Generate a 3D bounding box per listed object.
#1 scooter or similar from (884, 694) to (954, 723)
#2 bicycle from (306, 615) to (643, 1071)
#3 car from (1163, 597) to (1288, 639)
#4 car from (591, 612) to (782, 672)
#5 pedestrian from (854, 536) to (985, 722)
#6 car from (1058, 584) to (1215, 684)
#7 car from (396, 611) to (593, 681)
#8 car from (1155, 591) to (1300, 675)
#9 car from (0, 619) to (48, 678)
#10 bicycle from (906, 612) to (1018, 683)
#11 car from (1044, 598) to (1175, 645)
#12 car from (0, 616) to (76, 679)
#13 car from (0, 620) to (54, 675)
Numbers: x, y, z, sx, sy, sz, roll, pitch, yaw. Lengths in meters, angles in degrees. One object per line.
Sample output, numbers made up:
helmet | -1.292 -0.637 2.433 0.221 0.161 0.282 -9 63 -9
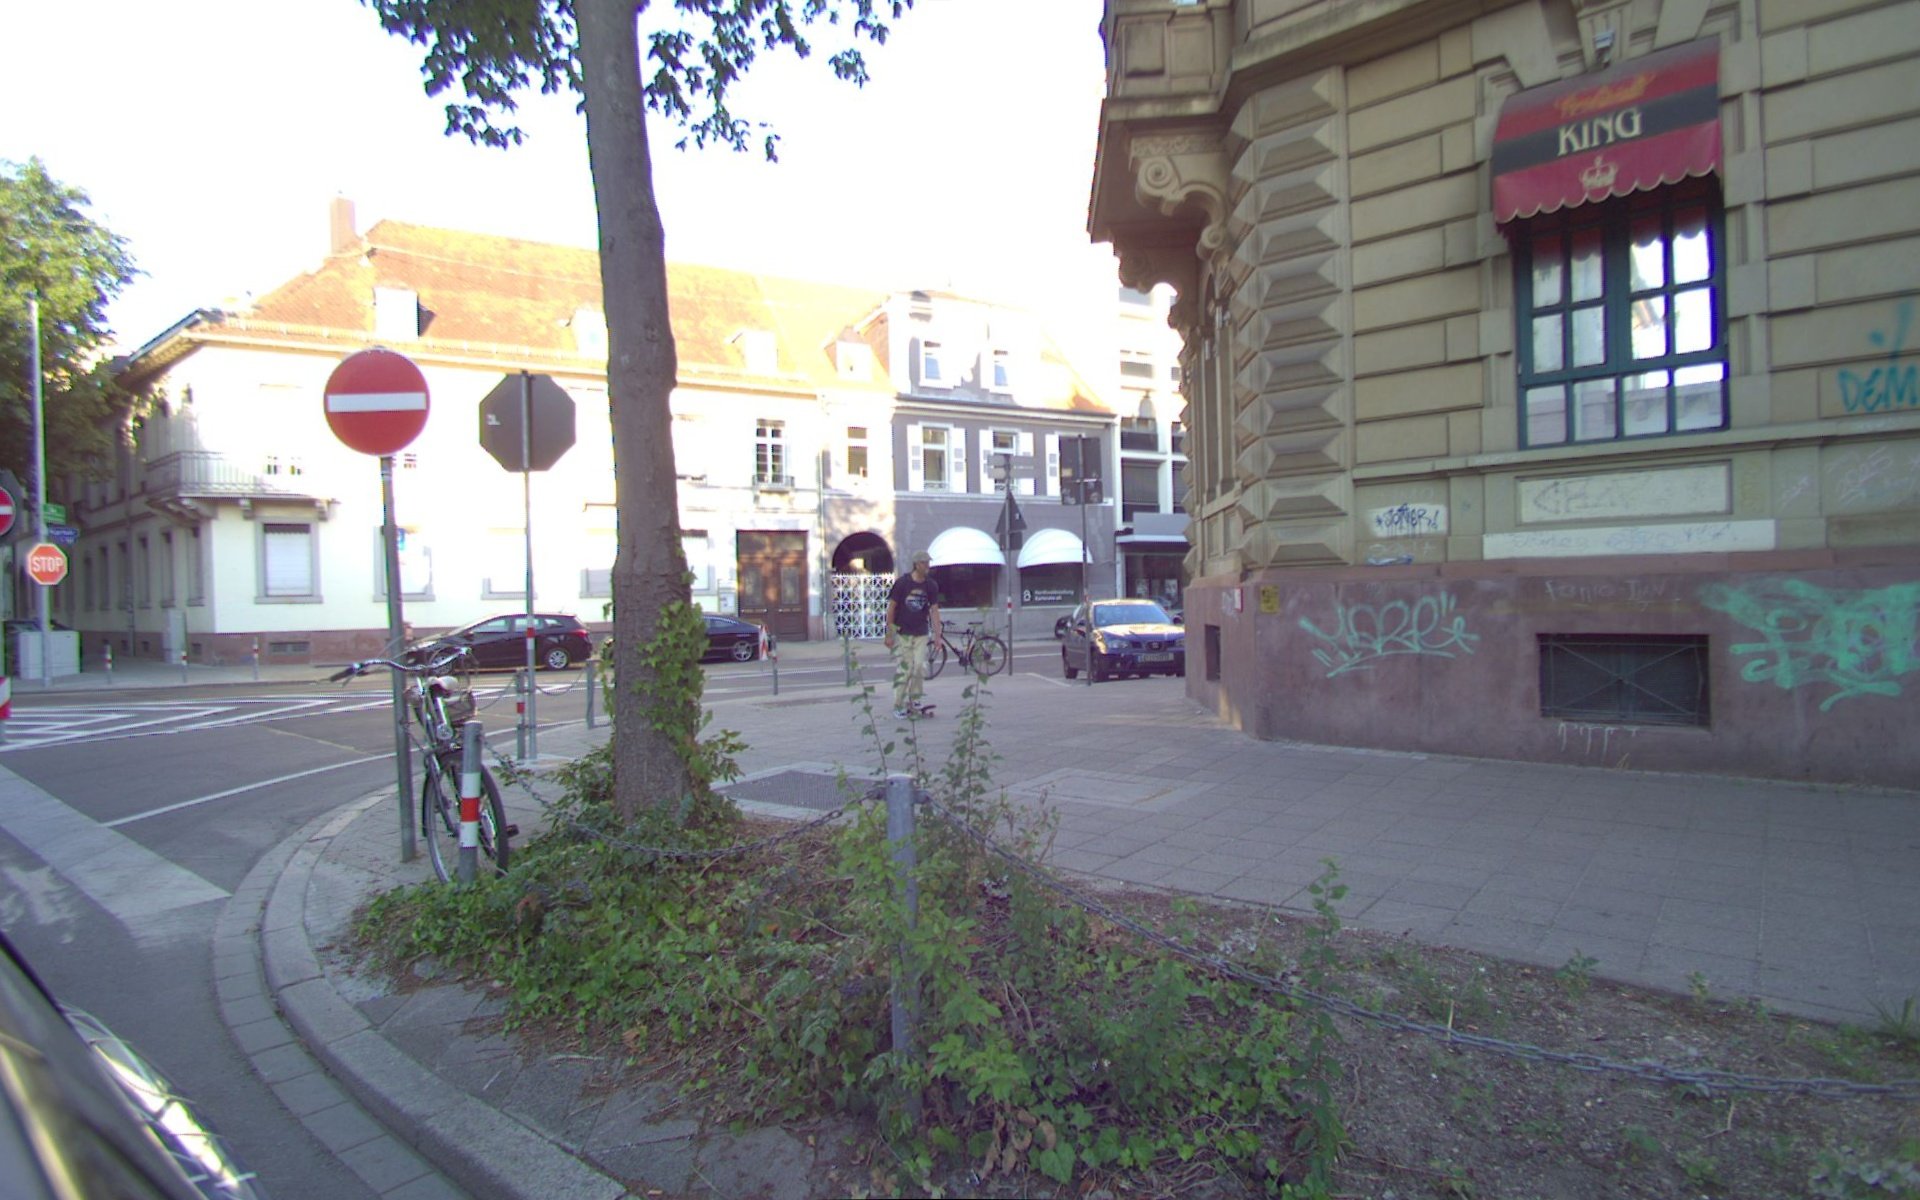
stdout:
scooter or similar | -0.430 1.110 10.381 0.411 0.208 0.885 -2 -1 -24
bicycle | -2.139 0.722 4.170 0.832 1.277 2.579 0 -1 -35
car | 9.804 0.657 37.327 4.424 1.398 1.753 -1 -1 -29
car | -7.454 1.111 27.706 4.773 1.405 1.784 -1 -1 -26
pedestrian | -0.446 0.288 10.396 0.836 1.752 1.271 -3 -1 -24
car | 2.878 0.625 17.340 1.715 1.472 3.866 -2 -3 -4
car | -11.688 1.121 25.505 4.354 1.553 1.813 -1 -1 -28
car | 5.445 0.705 21.258 1.744 1.523 4.628 -2 -2 0
car | -28.246 1.399 28.230 1.721 1.627 3.949 -2 -1 37
bicycle | 0.035 0.826 17.728 1.772 1.134 0.730 -2 -3 -19
car | 5.121 0.719 34.615 4.176 1.458 1.753 -1 -1 -28
car | -26.266 1.292 26.875 1.826 1.627 3.949 -2 -1 37
car | -29.806 1.467 30.168 1.721 1.627 3.949 -2 -1 37
